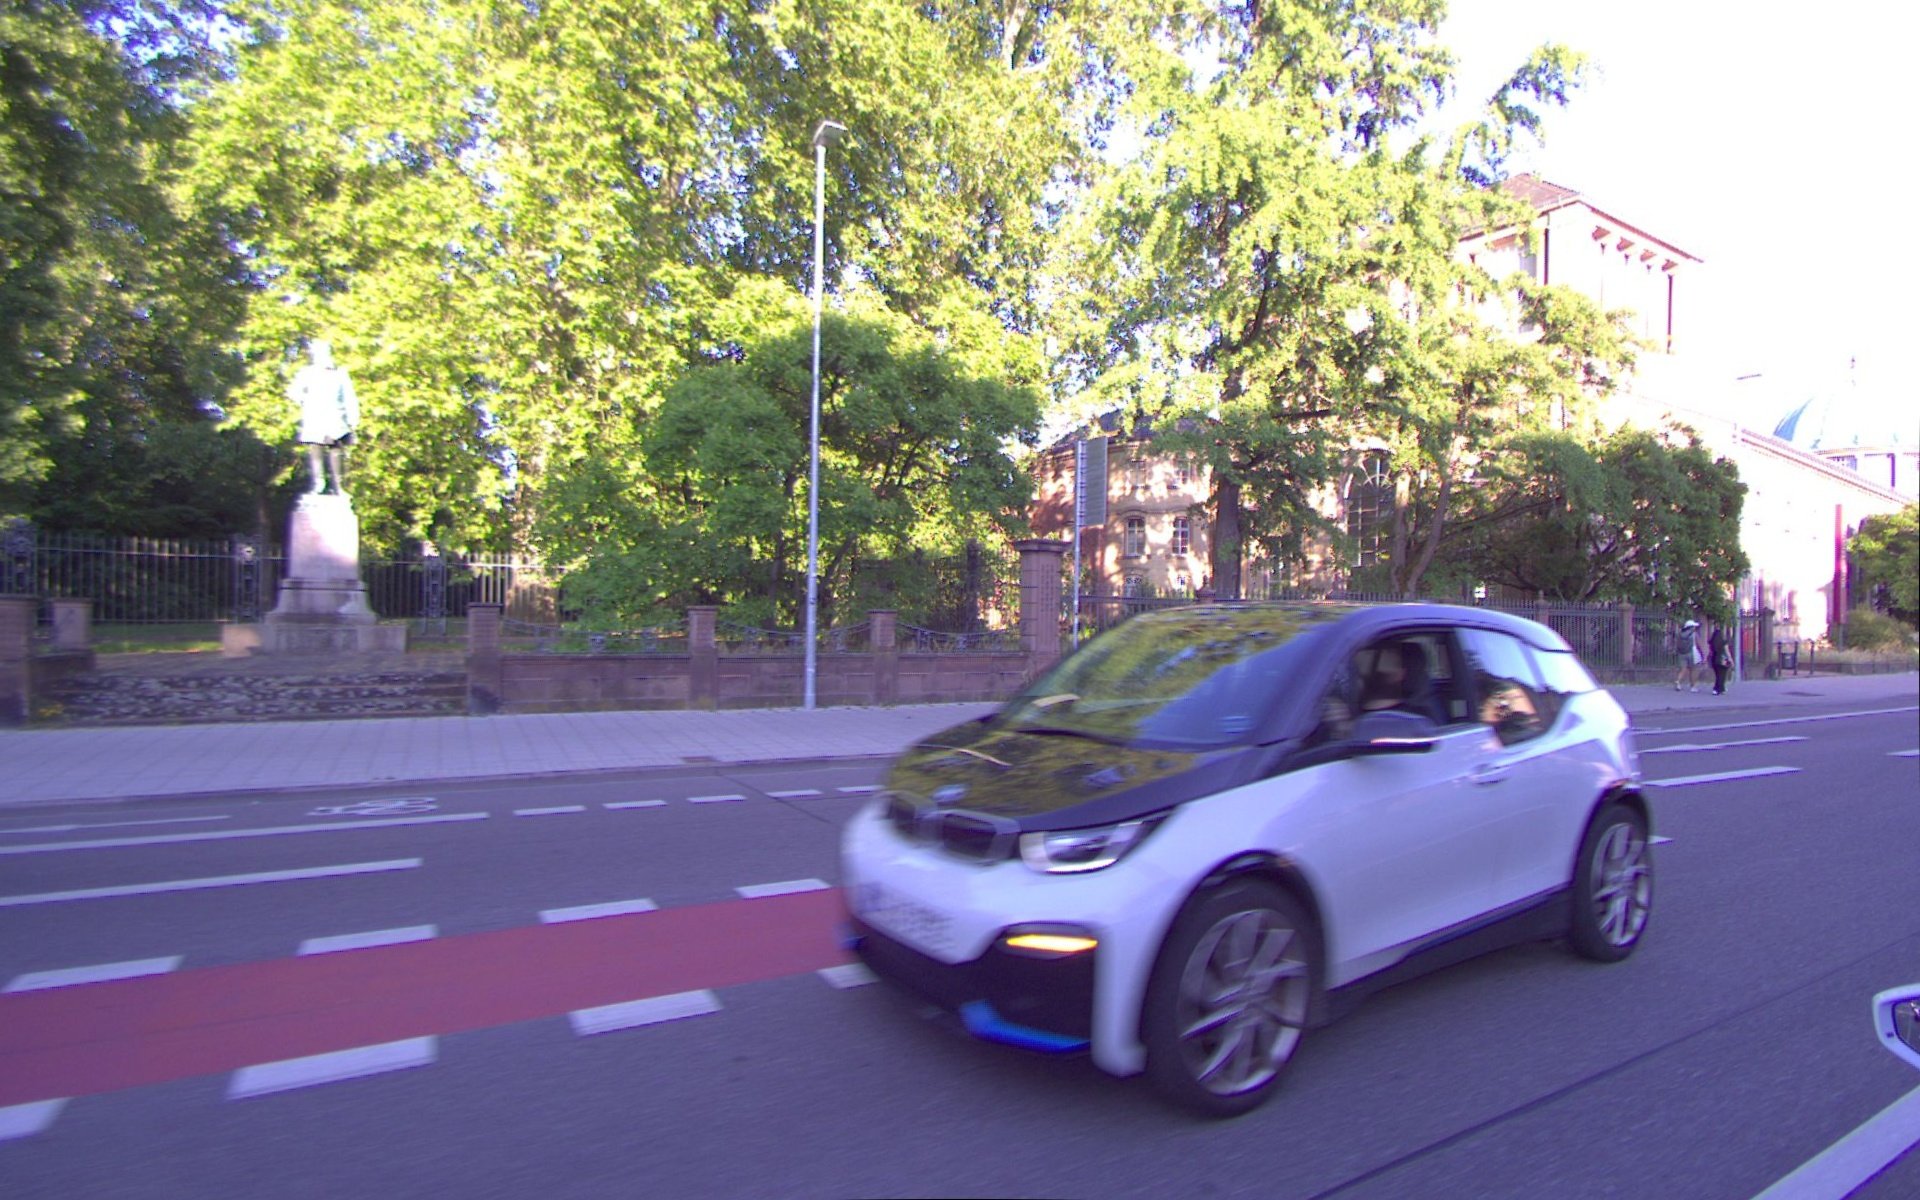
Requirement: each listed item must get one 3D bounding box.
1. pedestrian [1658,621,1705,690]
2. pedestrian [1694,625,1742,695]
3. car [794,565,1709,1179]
[{"bbox_3d":[17.811,1.360,24.798,0.679,1.644,0.679,1,-1,-25],"label":"pedestrian"},{"bbox_3d":[18.225,1.436,24.145,0.679,1.644,0.679,1,-1,-24],"label":"pedestrian"},{"bbox_3d":[1.462,0.750,4.451,3.960,1.546,1.837,1,-2,-35],"label":"car"}]
